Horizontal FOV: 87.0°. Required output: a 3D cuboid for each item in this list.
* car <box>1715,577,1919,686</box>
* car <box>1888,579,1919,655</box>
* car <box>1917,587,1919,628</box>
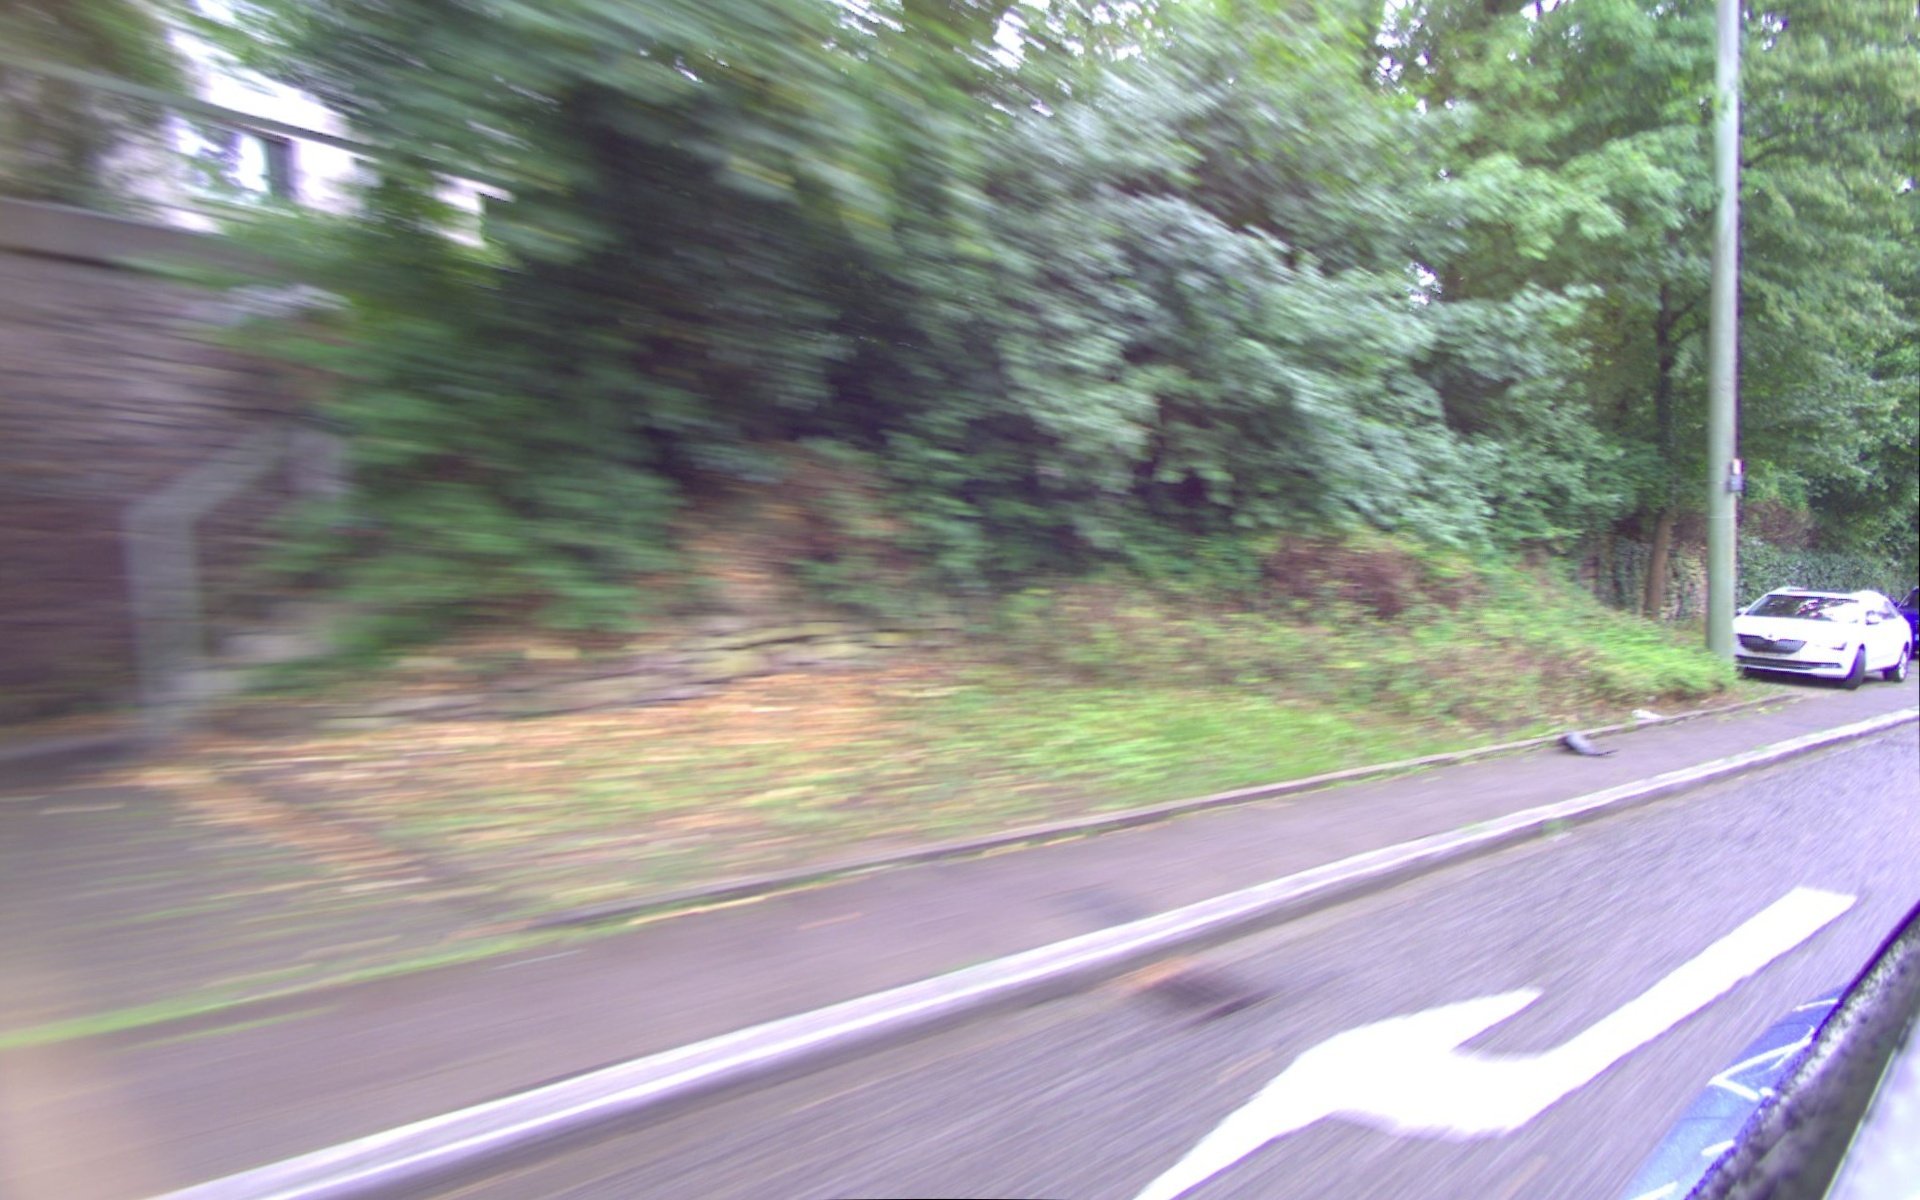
[{"bbox_3d":[14.433,0.450,16.755,4.651,1.495,1.745,0,3,-36],"label":"car"},{"bbox_3d":[22.873,0.357,23.078,4.594,1.643,1.770,-1,2,-38],"label":"car"},{"bbox_3d":[39.500,0.317,38.528,1.770,1.614,4.195,0,1,-36],"label":"car"}]
